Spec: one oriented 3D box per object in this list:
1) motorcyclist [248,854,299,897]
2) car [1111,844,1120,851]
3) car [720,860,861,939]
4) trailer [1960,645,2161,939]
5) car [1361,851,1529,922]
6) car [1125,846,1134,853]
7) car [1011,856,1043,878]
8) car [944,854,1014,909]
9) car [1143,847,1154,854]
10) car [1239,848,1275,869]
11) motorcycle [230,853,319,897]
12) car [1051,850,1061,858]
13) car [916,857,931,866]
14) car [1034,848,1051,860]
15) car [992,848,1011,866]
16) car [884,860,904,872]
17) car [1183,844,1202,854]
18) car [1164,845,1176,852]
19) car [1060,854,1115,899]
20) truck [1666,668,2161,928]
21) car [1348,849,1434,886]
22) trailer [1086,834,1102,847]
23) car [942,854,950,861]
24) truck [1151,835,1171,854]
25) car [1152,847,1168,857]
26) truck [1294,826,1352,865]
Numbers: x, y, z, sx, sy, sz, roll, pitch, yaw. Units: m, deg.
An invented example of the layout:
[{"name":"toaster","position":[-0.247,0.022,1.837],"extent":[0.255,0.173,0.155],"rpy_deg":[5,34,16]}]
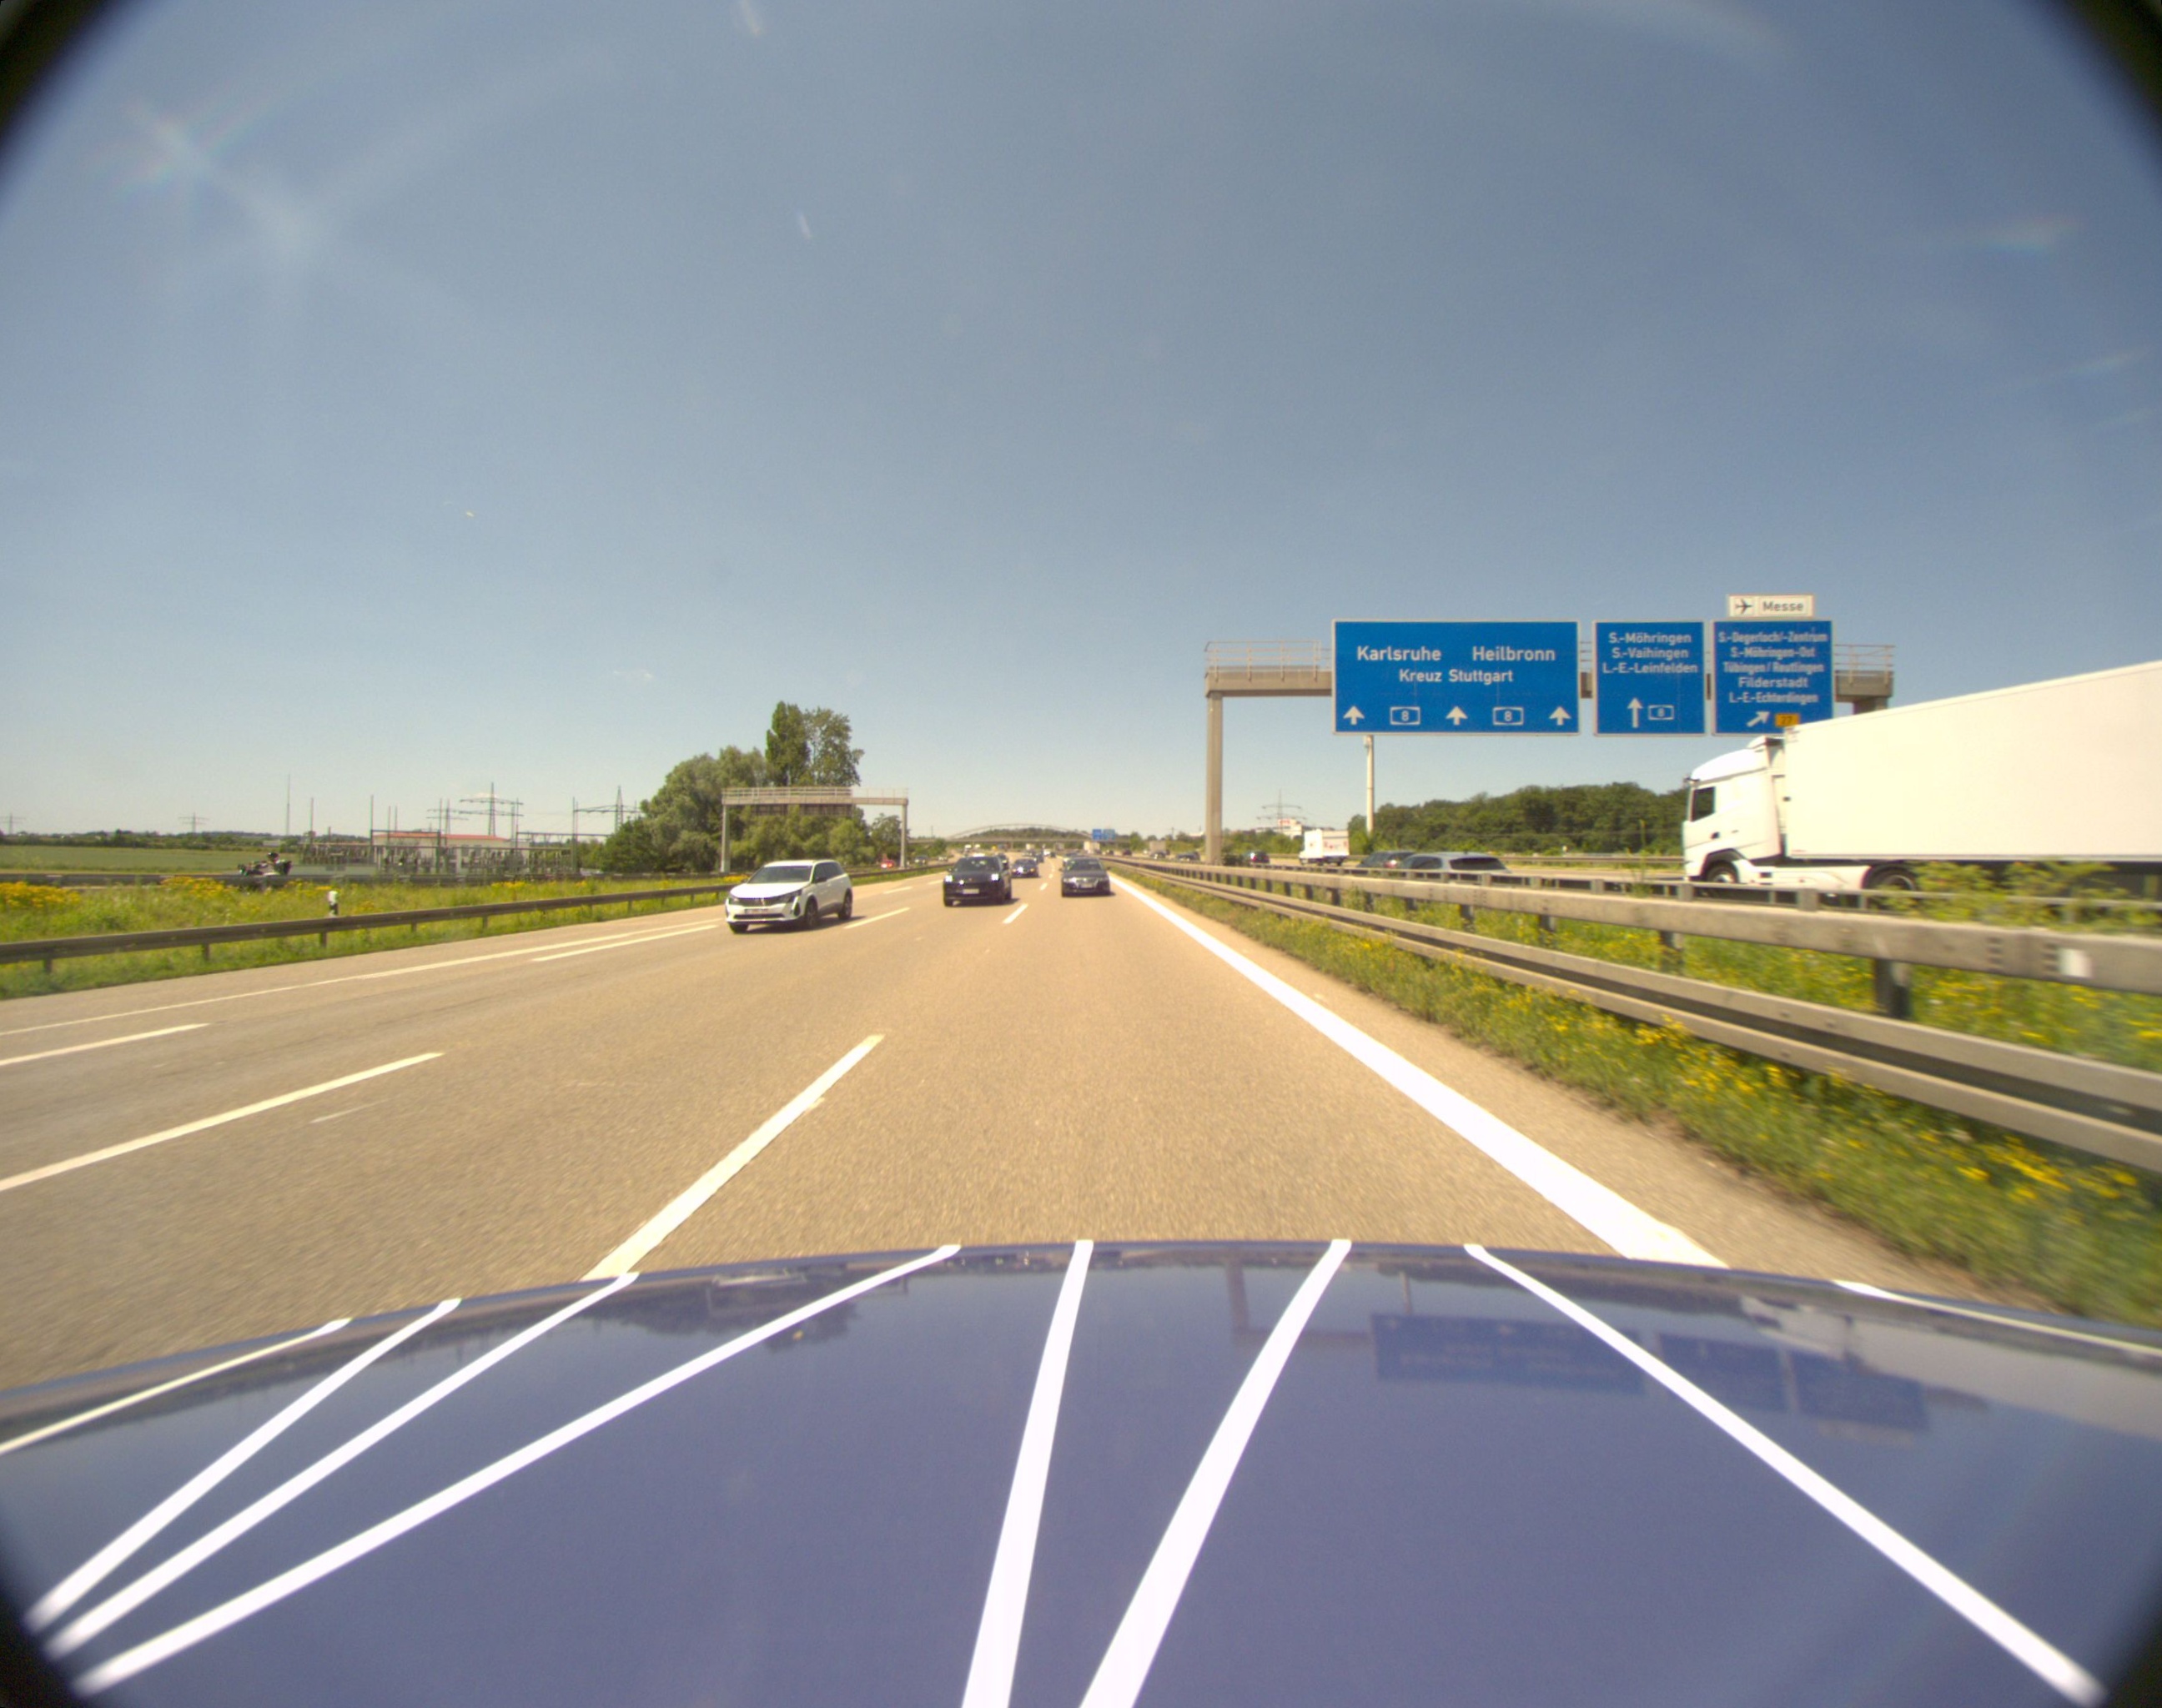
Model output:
[{"name":"motorcyclist","position":[-26.634,0.706,25.063],"extent":[0.669,1.359,0.879],"rpy_deg":[-1,1,8]},{"name":"car","position":[8.087,-1.462,178.804],"extent":[1.679,1.616,4.084],"rpy_deg":[-1,1,0]},{"name":"car","position":[-7.032,1.013,18.949],"extent":[1.748,1.582,4.618],"rpy_deg":[-1,1,-1]},{"name":"trailer","position":[16.962,-0.871,7.579],"extent":[3.231,4.168,11.407],"rpy_deg":[-1,1,0]},{"name":"car","position":[9.277,0.744,19.964],"extent":[1.736,1.579,5.355],"rpy_deg":[-1,0,-1]},{"name":"car","position":[11.466,-1.145,179.837],"extent":[1.852,1.646,4.909],"rpy_deg":[-2,1,0]},{"name":"car","position":[-3.859,0.872,54.540],"extent":[1.931,1.390,4.117],"rpy_deg":[-1,1,1]},{"name":"car","position":[-3.376,0.857,25.841],"extent":[1.932,1.586,4.130],"rpy_deg":[-1,1,-3]},{"name":"car","position":[17.511,-0.895,197.511],"extent":[2.111,1.523,4.370],"rpy_deg":[-2,1,-2]},{"name":"car","position":[13.453,0.342,58.338],"extent":[1.747,1.552,3.999],"rpy_deg":[-1,0,-1]},{"name":"motorcycle","position":[-26.626,0.673,25.146],"extent":[0.761,1.359,1.870],"rpy_deg":[-1,1,8]},{"name":"car","position":[-5.719,0.038,173.963],"extent":[2.000,1.849,3.997],"rpy_deg":[-2,1,-7]},{"name":"car","position":[-29.191,1.380,140.923],"extent":[1.703,1.566,4.127],"rpy_deg":[-1,1,1]},{"name":"car","position":[-6.223,-0.045,123.220],"extent":[1.924,1.762,4.001],"rpy_deg":[-1,1,6]},{"name":"car","position":[-8.834,0.316,84.631],"extent":[1.809,1.908,4.293],"rpy_deg":[-1,1,-2]},{"name":"car","position":[-26.971,1.652,109.697],"extent":[1.703,1.566,4.127],"rpy_deg":[-1,1,1]},{"name":"car","position":[15.393,-0.672,105.093],"extent":[1.910,1.412,3.999],"rpy_deg":[-1,0,-1]},{"name":"car","position":[20.048,-1.158,171.355],"extent":[1.852,1.523,4.221],"rpy_deg":[-2,1,-4]},{"name":"car","position":[0.170,0.821,29.469],"extent":[1.932,1.499,4.389],"rpy_deg":[-1,1,-2]},{"name":"truck","position":[17.030,-0.924,16.175],"extent":[3.256,4.185,7.693],"rpy_deg":[-1,0,1]},{"name":"car","position":[13.725,0.547,33.998],"extent":[1.747,1.500,5.101],"rpy_deg":[-1,0,-1]},{"name":"trailer","position":[4.267,-4.343,253.221],"extent":[3.045,4.216,12.236],"rpy_deg":[-2,1,-9]},{"name":"car","position":[-32.276,0.816,182.166],"extent":[1.705,1.566,4.124],"rpy_deg":[-2,1,-8]},{"name":"truck","position":[14.422,-1.740,137.430],"extent":[2.382,3.258,7.657],"rpy_deg":[-1,1,-2]},{"name":"car","position":[11.336,-0.292,109.414],"extent":[1.794,1.455,4.858],"rpy_deg":[-1,0,-1]},{"name":"truck","position":[20.781,-0.683,65.764],"extent":[2.326,3.149,8.112],"rpy_deg":[-1,0,0]}]
